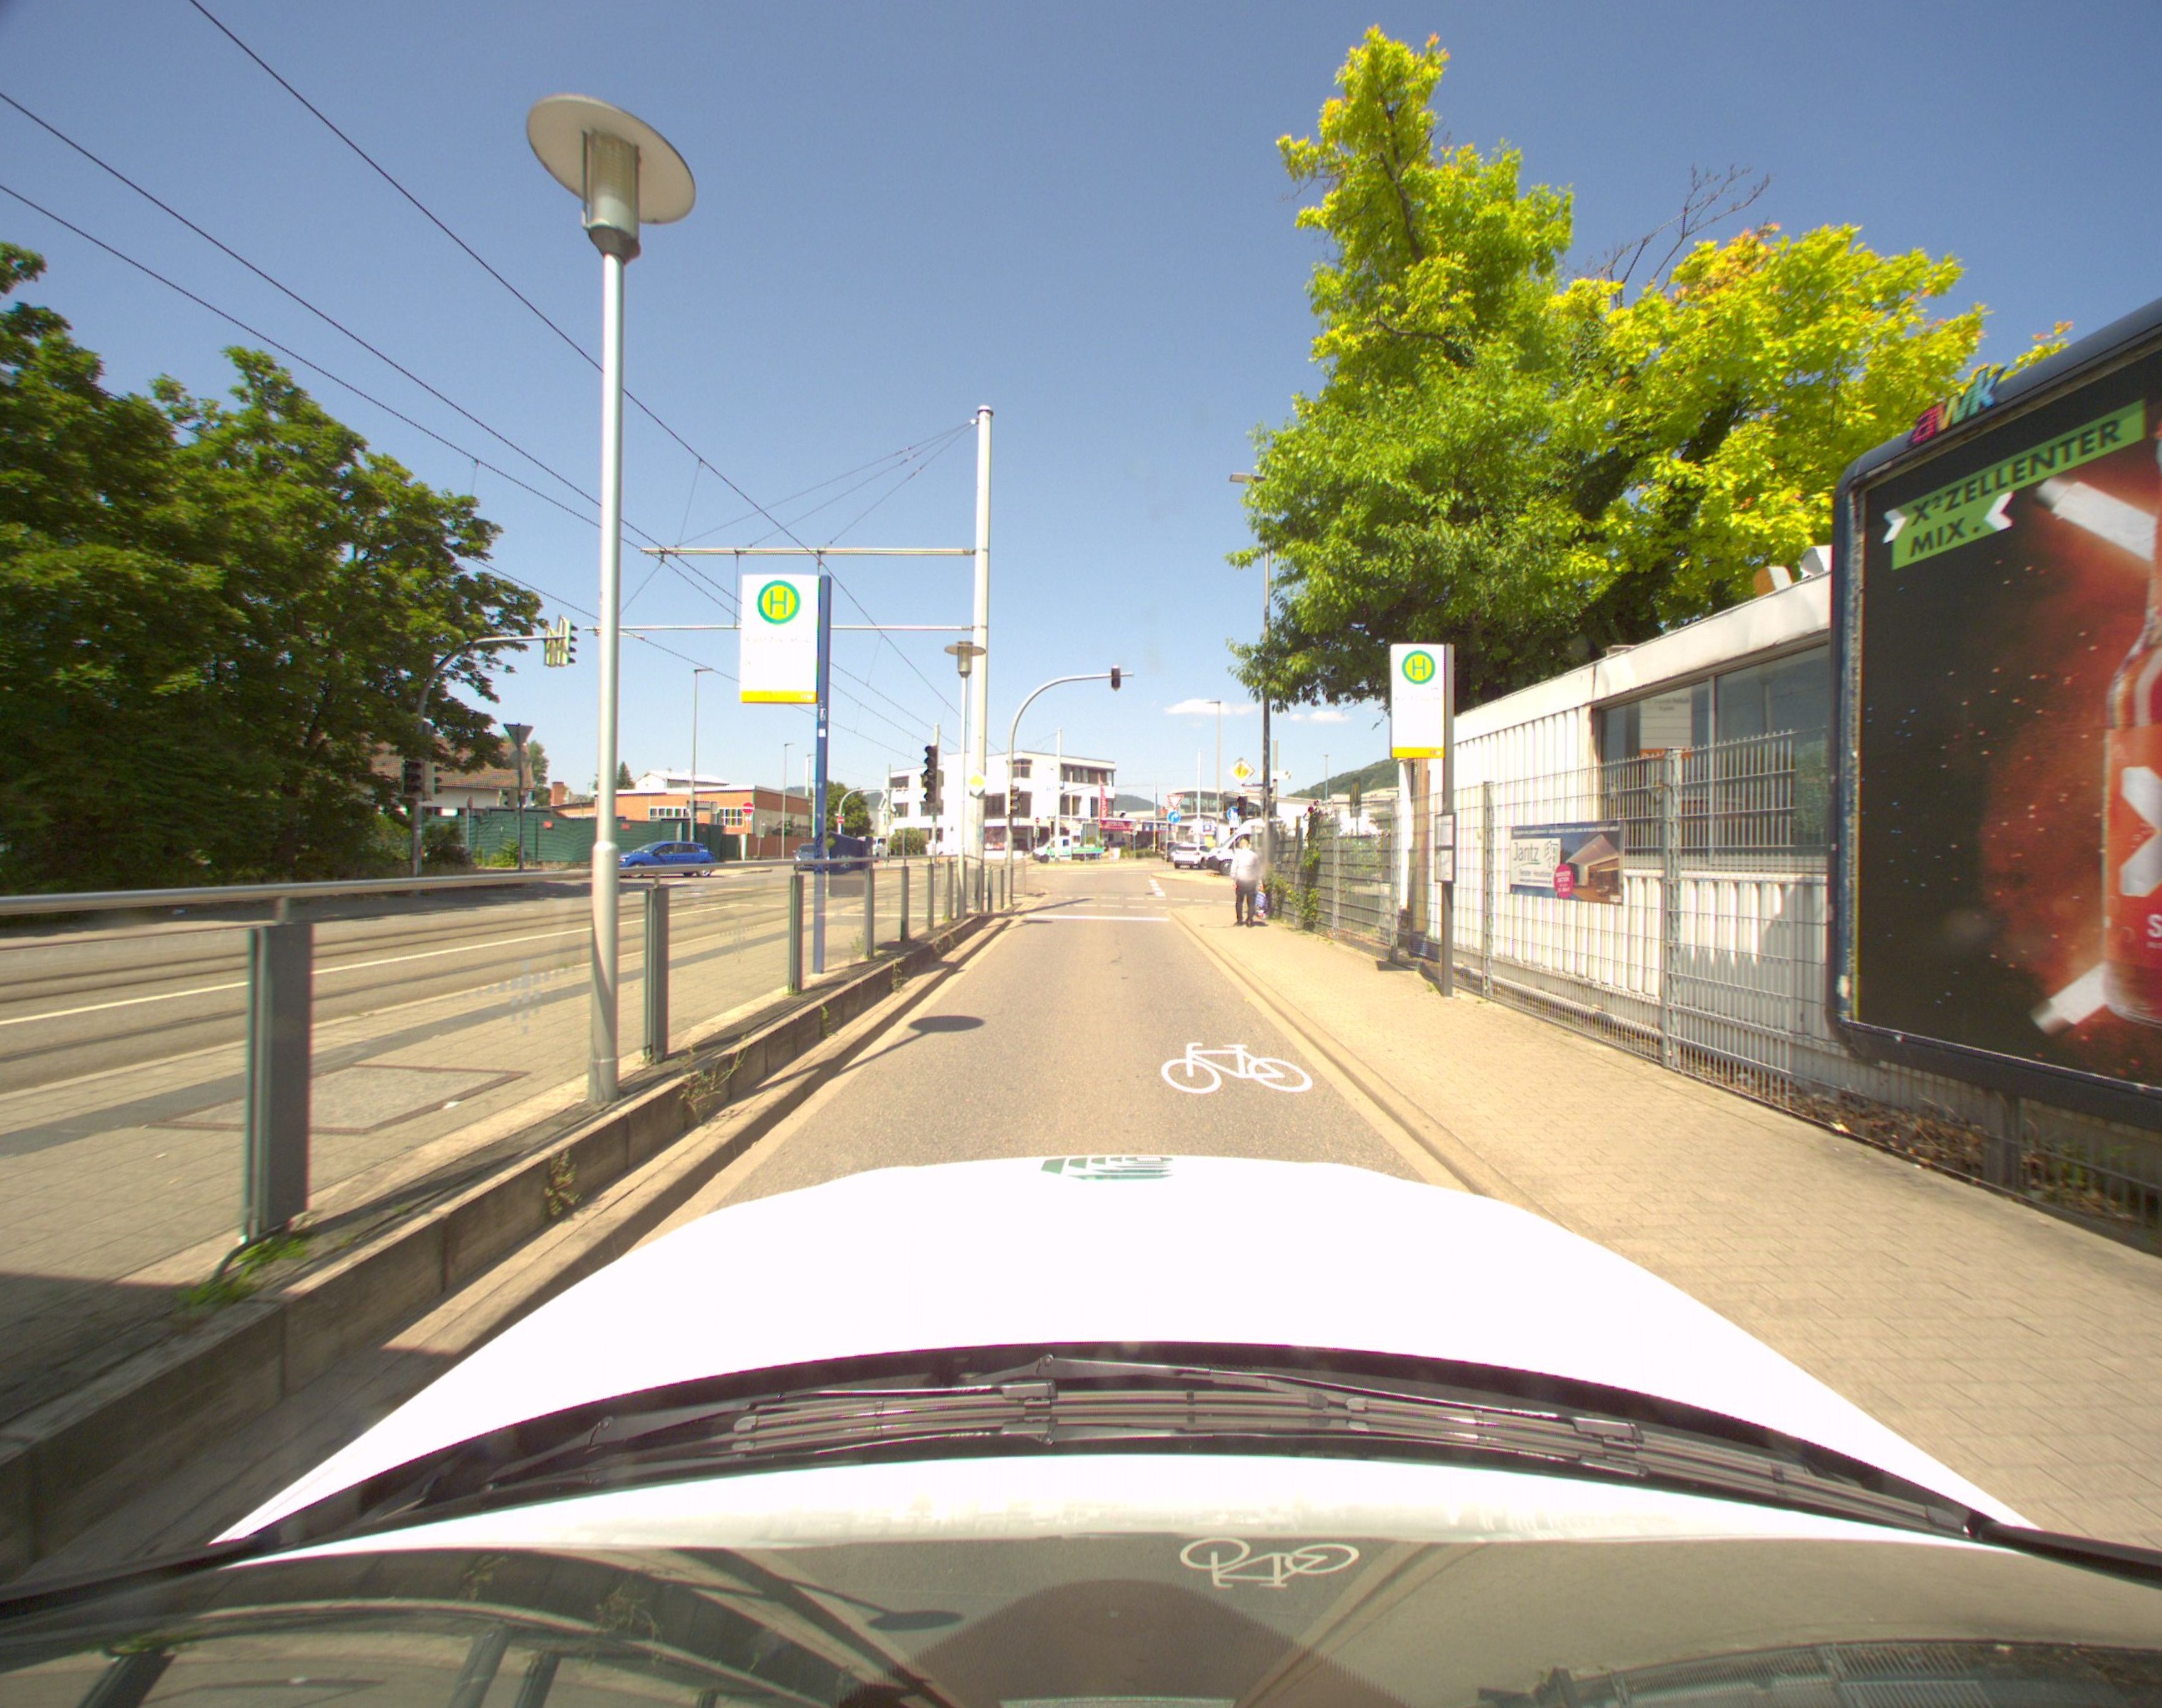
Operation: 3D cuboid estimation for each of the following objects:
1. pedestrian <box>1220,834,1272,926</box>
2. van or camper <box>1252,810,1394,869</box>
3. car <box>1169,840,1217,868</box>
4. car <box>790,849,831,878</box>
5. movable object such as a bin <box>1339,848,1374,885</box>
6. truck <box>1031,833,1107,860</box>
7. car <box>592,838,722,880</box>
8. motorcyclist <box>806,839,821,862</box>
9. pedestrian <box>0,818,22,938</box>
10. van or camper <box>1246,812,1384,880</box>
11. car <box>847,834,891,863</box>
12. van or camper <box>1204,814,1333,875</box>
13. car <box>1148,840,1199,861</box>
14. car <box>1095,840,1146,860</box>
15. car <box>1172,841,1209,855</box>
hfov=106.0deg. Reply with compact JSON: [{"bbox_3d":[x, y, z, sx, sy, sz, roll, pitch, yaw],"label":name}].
[{"bbox_3d":[3.153,0.481,15.659,0.810,1.699,0.887,0,0,-1],"label":"pedestrian"},{"bbox_3d":[13.133,-0.769,44.520,7.035,2.946,2.336,-1,0,1],"label":"van or camper"},{"bbox_3d":[7.276,-0.009,52.637,1.976,1.733,4.589,1,1,23],"label":"car"},{"bbox_3d":[-14.318,0.454,43.273,1.911,1.442,4.570,0,1,-17],"label":"car"},{"bbox_3d":[11.330,0.512,33.543,1.244,1.456,1.083,1,3,14],"label":"movable object such as a bin"},{"bbox_3d":[-1.081,-0.656,70.834,6.367,2.337,2.203,0,0,-10],"label":"truck"},{"bbox_3d":[-16.750,0.164,32.313,1.783,1.537,4.188,1,1,41],"label":"car"},{"bbox_3d":[-17.621,-0.222,53.590,0.839,1.475,0.955,0,-1,-24],"label":"motorcyclist"},{"bbox_3d":[-15.407,0.335,10.910,0.883,1.670,1.160,0,0,1],"label":"pedestrian"},{"bbox_3d":[10.165,-0.374,35.741,5.479,2.813,2.052,1,2,5],"label":"van or camper"},{"bbox_3d":[-15.961,-0.397,61.550,2.156,2.014,5.013,1,-1,-2],"label":"car"},{"bbox_3d":[8.831,-0.457,38.776,5.784,2.773,2.093,0,1,4],"label":"van or camper"},{"bbox_3d":[8.512,-0.320,74.652,4.424,1.818,1.970,0,1,-32],"label":"car"},{"bbox_3d":[4.077,-0.443,82.496,5.309,1.965,1.943,0,1,-41],"label":"car"},{"bbox_3d":[13.287,-0.720,98.794,1.863,1.589,4.957,-2,-1,44],"label":"car"}]
